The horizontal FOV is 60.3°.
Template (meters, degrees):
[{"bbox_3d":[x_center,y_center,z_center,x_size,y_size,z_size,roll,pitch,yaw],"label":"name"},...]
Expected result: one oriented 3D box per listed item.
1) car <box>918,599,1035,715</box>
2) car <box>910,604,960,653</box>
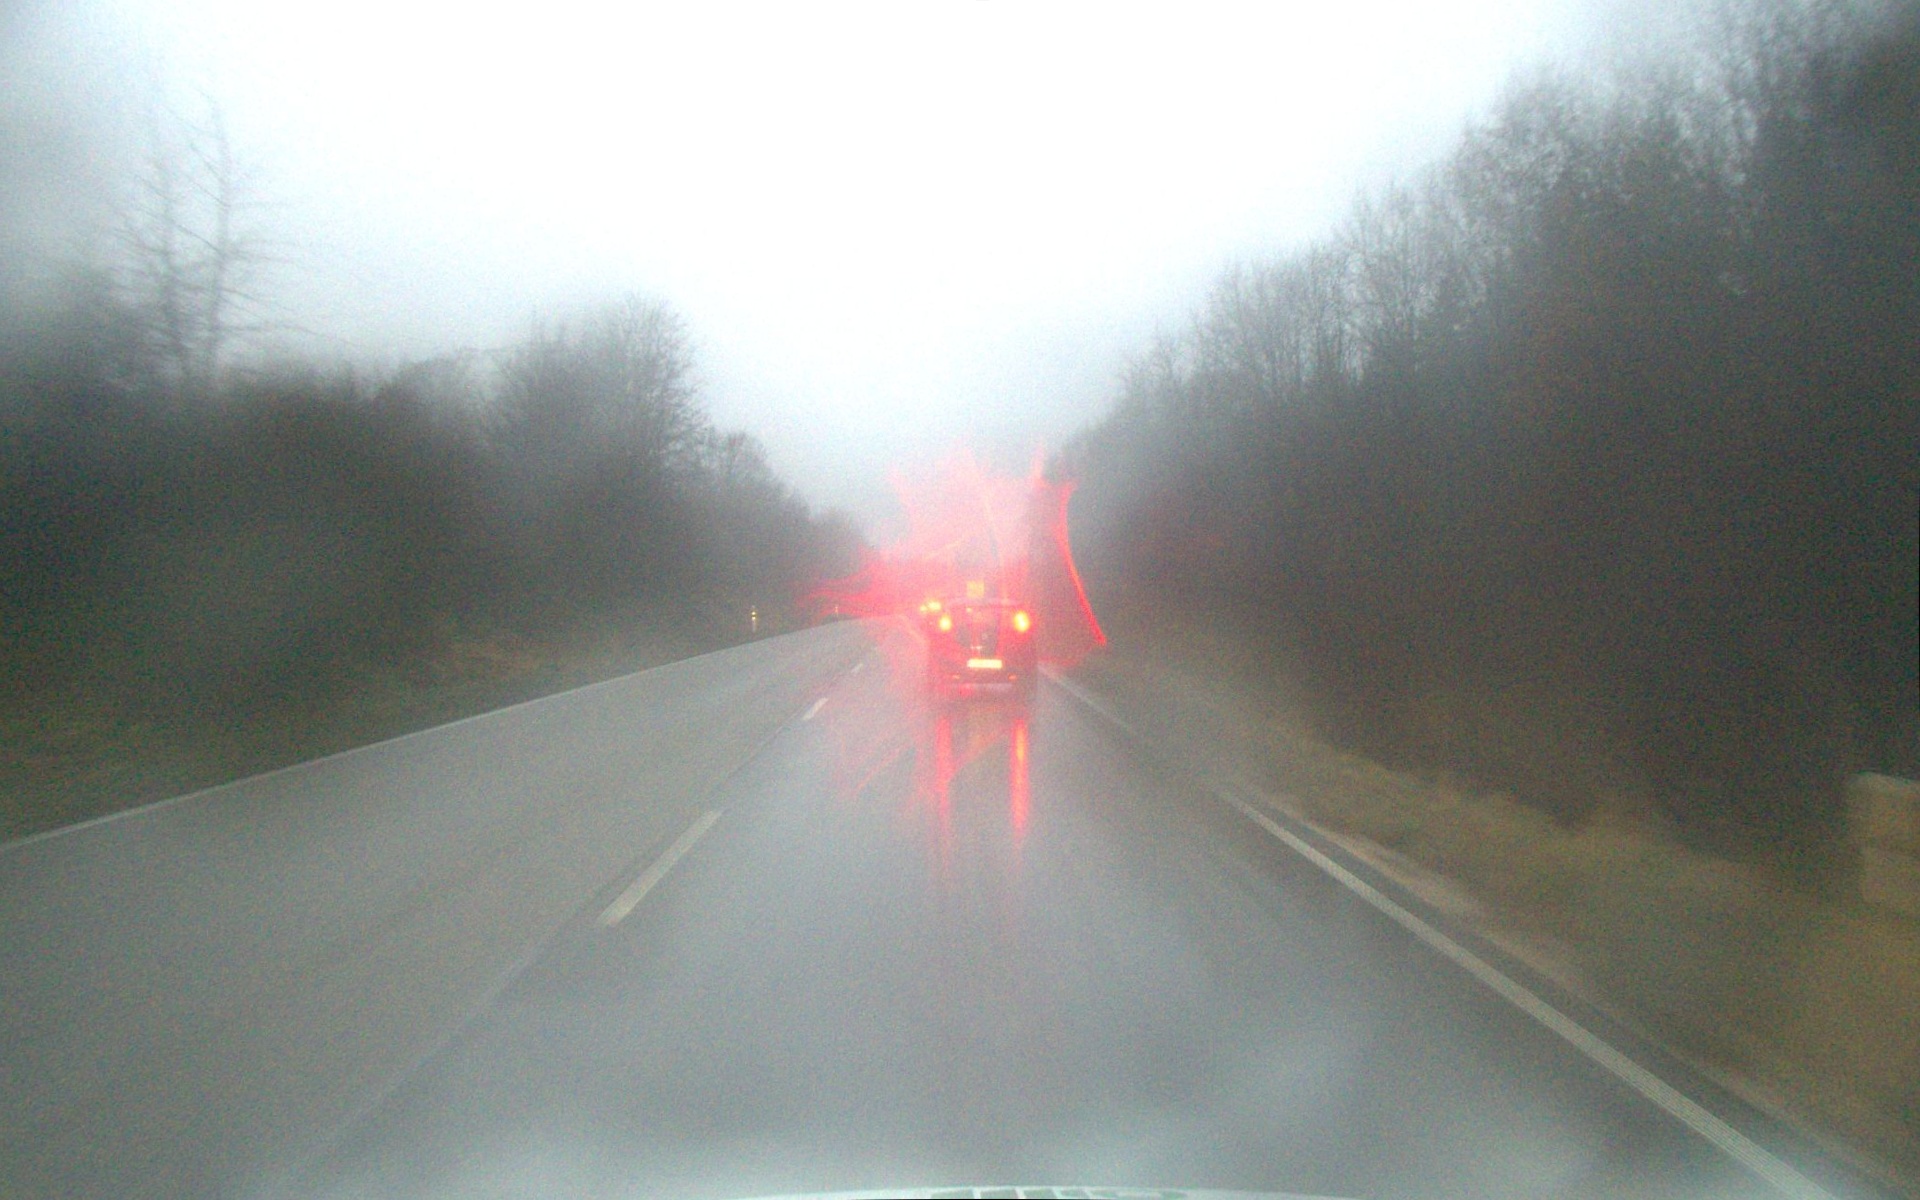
[{"bbox_3d":[0.255,0.844,26.149,1.692,1.672,4.000,1,0,0],"label":"car"},{"bbox_3d":[-0.863,0.997,59.728,1.692,1.672,4.000,1,0,0],"label":"car"}]
